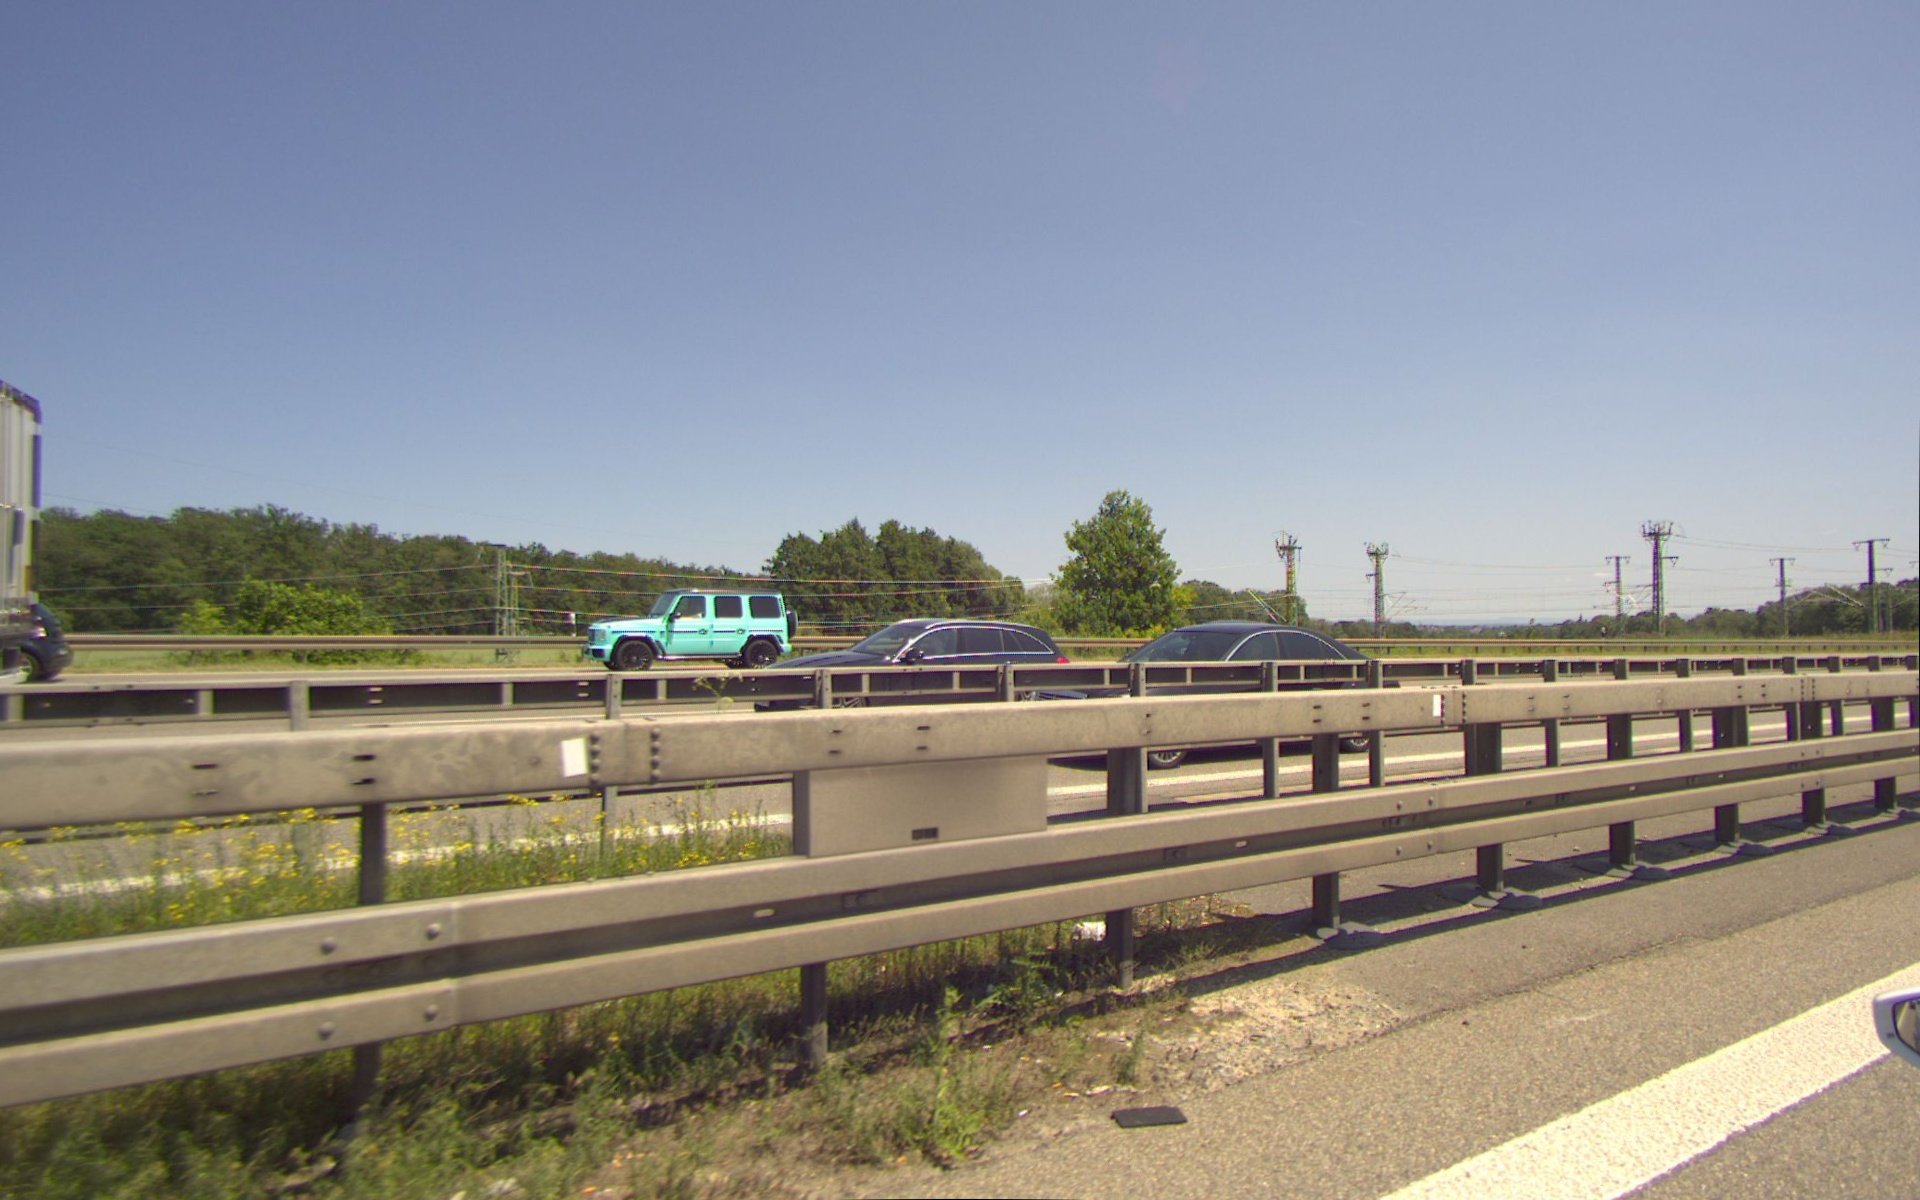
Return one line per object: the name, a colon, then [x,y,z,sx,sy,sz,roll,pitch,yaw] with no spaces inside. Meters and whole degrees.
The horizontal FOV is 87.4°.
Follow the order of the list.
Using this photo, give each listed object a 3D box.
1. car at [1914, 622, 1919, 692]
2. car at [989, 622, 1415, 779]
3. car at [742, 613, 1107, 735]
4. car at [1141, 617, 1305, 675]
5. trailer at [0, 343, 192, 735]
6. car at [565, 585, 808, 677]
car: [25.540,1.419,24.694,4.641,1.691,1.748,1,-1,-30]
car: [2.908,1.019,11.679,4.938,1.479,1.833,1,-1,-30]
car: [-0.424,0.958,14.307,4.938,1.479,1.833,1,-1,-30]
car: [7.139,1.204,27.127,4.403,1.444,1.688,1,-1,-30]
trailer: [-15.013,-0.788,9.973,11.278,4.248,3.207,2,-1,-31]
car: [-6.306,0.707,23.334,5.101,1.939,2.006,1,-1,-30]
